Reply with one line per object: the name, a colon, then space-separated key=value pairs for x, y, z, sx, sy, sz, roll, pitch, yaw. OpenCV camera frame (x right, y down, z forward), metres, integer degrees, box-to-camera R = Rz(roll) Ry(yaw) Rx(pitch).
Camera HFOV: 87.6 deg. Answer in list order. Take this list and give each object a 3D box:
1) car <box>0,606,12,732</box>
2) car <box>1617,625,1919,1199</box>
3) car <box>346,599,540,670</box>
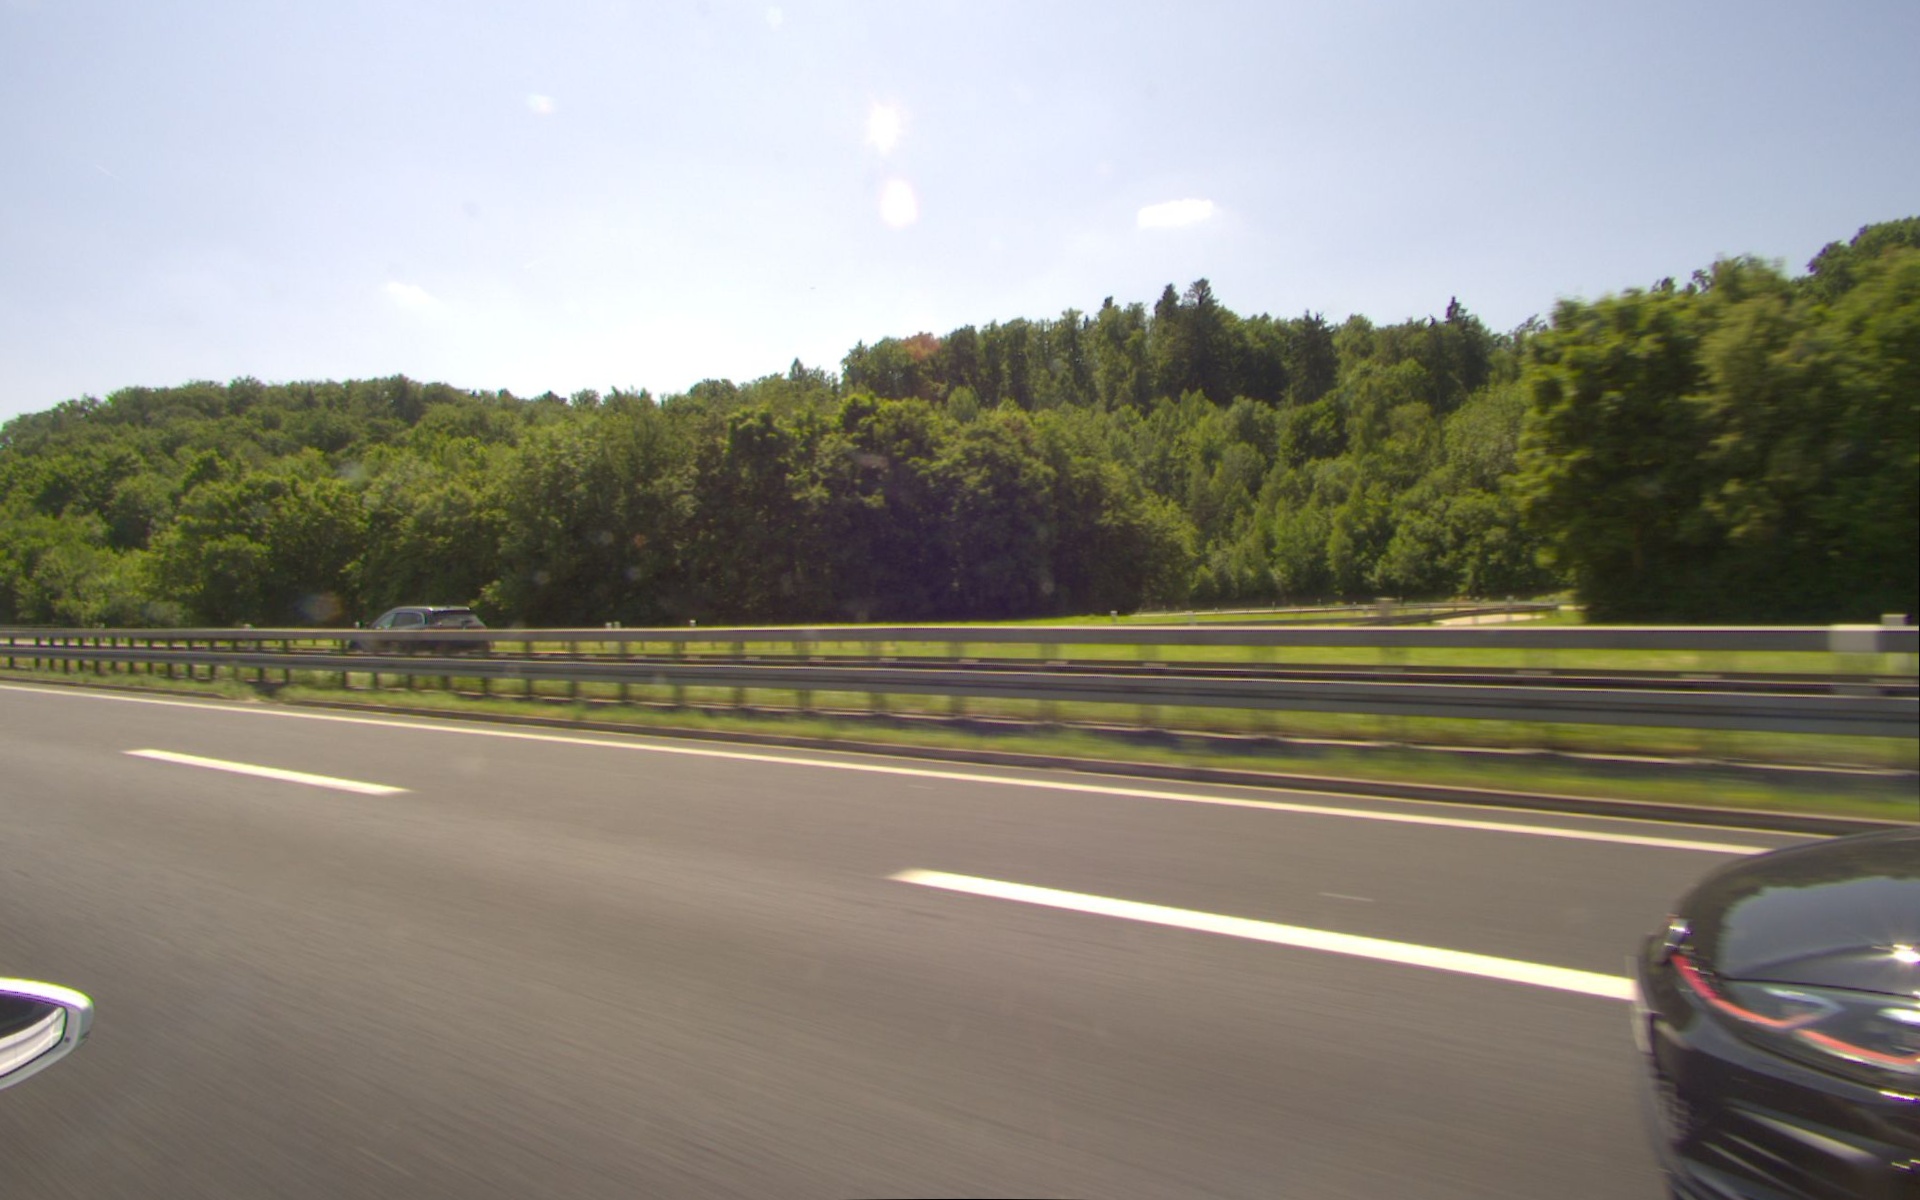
car: x=-15.128 y=0.959 z=13.832 sx=4.405 sy=1.683 sz=1.989 roll=-1 pitch=-1 yaw=33
car: x=3.538 y=0.768 z=1.731 sx=3.908 sy=1.454 sz=1.791 roll=-1 pitch=-1 yaw=31
car: x=-13.494 y=0.880 z=26.008 sx=5.548 sy=1.683 sz=1.989 roll=-1 pitch=-1 yaw=33
